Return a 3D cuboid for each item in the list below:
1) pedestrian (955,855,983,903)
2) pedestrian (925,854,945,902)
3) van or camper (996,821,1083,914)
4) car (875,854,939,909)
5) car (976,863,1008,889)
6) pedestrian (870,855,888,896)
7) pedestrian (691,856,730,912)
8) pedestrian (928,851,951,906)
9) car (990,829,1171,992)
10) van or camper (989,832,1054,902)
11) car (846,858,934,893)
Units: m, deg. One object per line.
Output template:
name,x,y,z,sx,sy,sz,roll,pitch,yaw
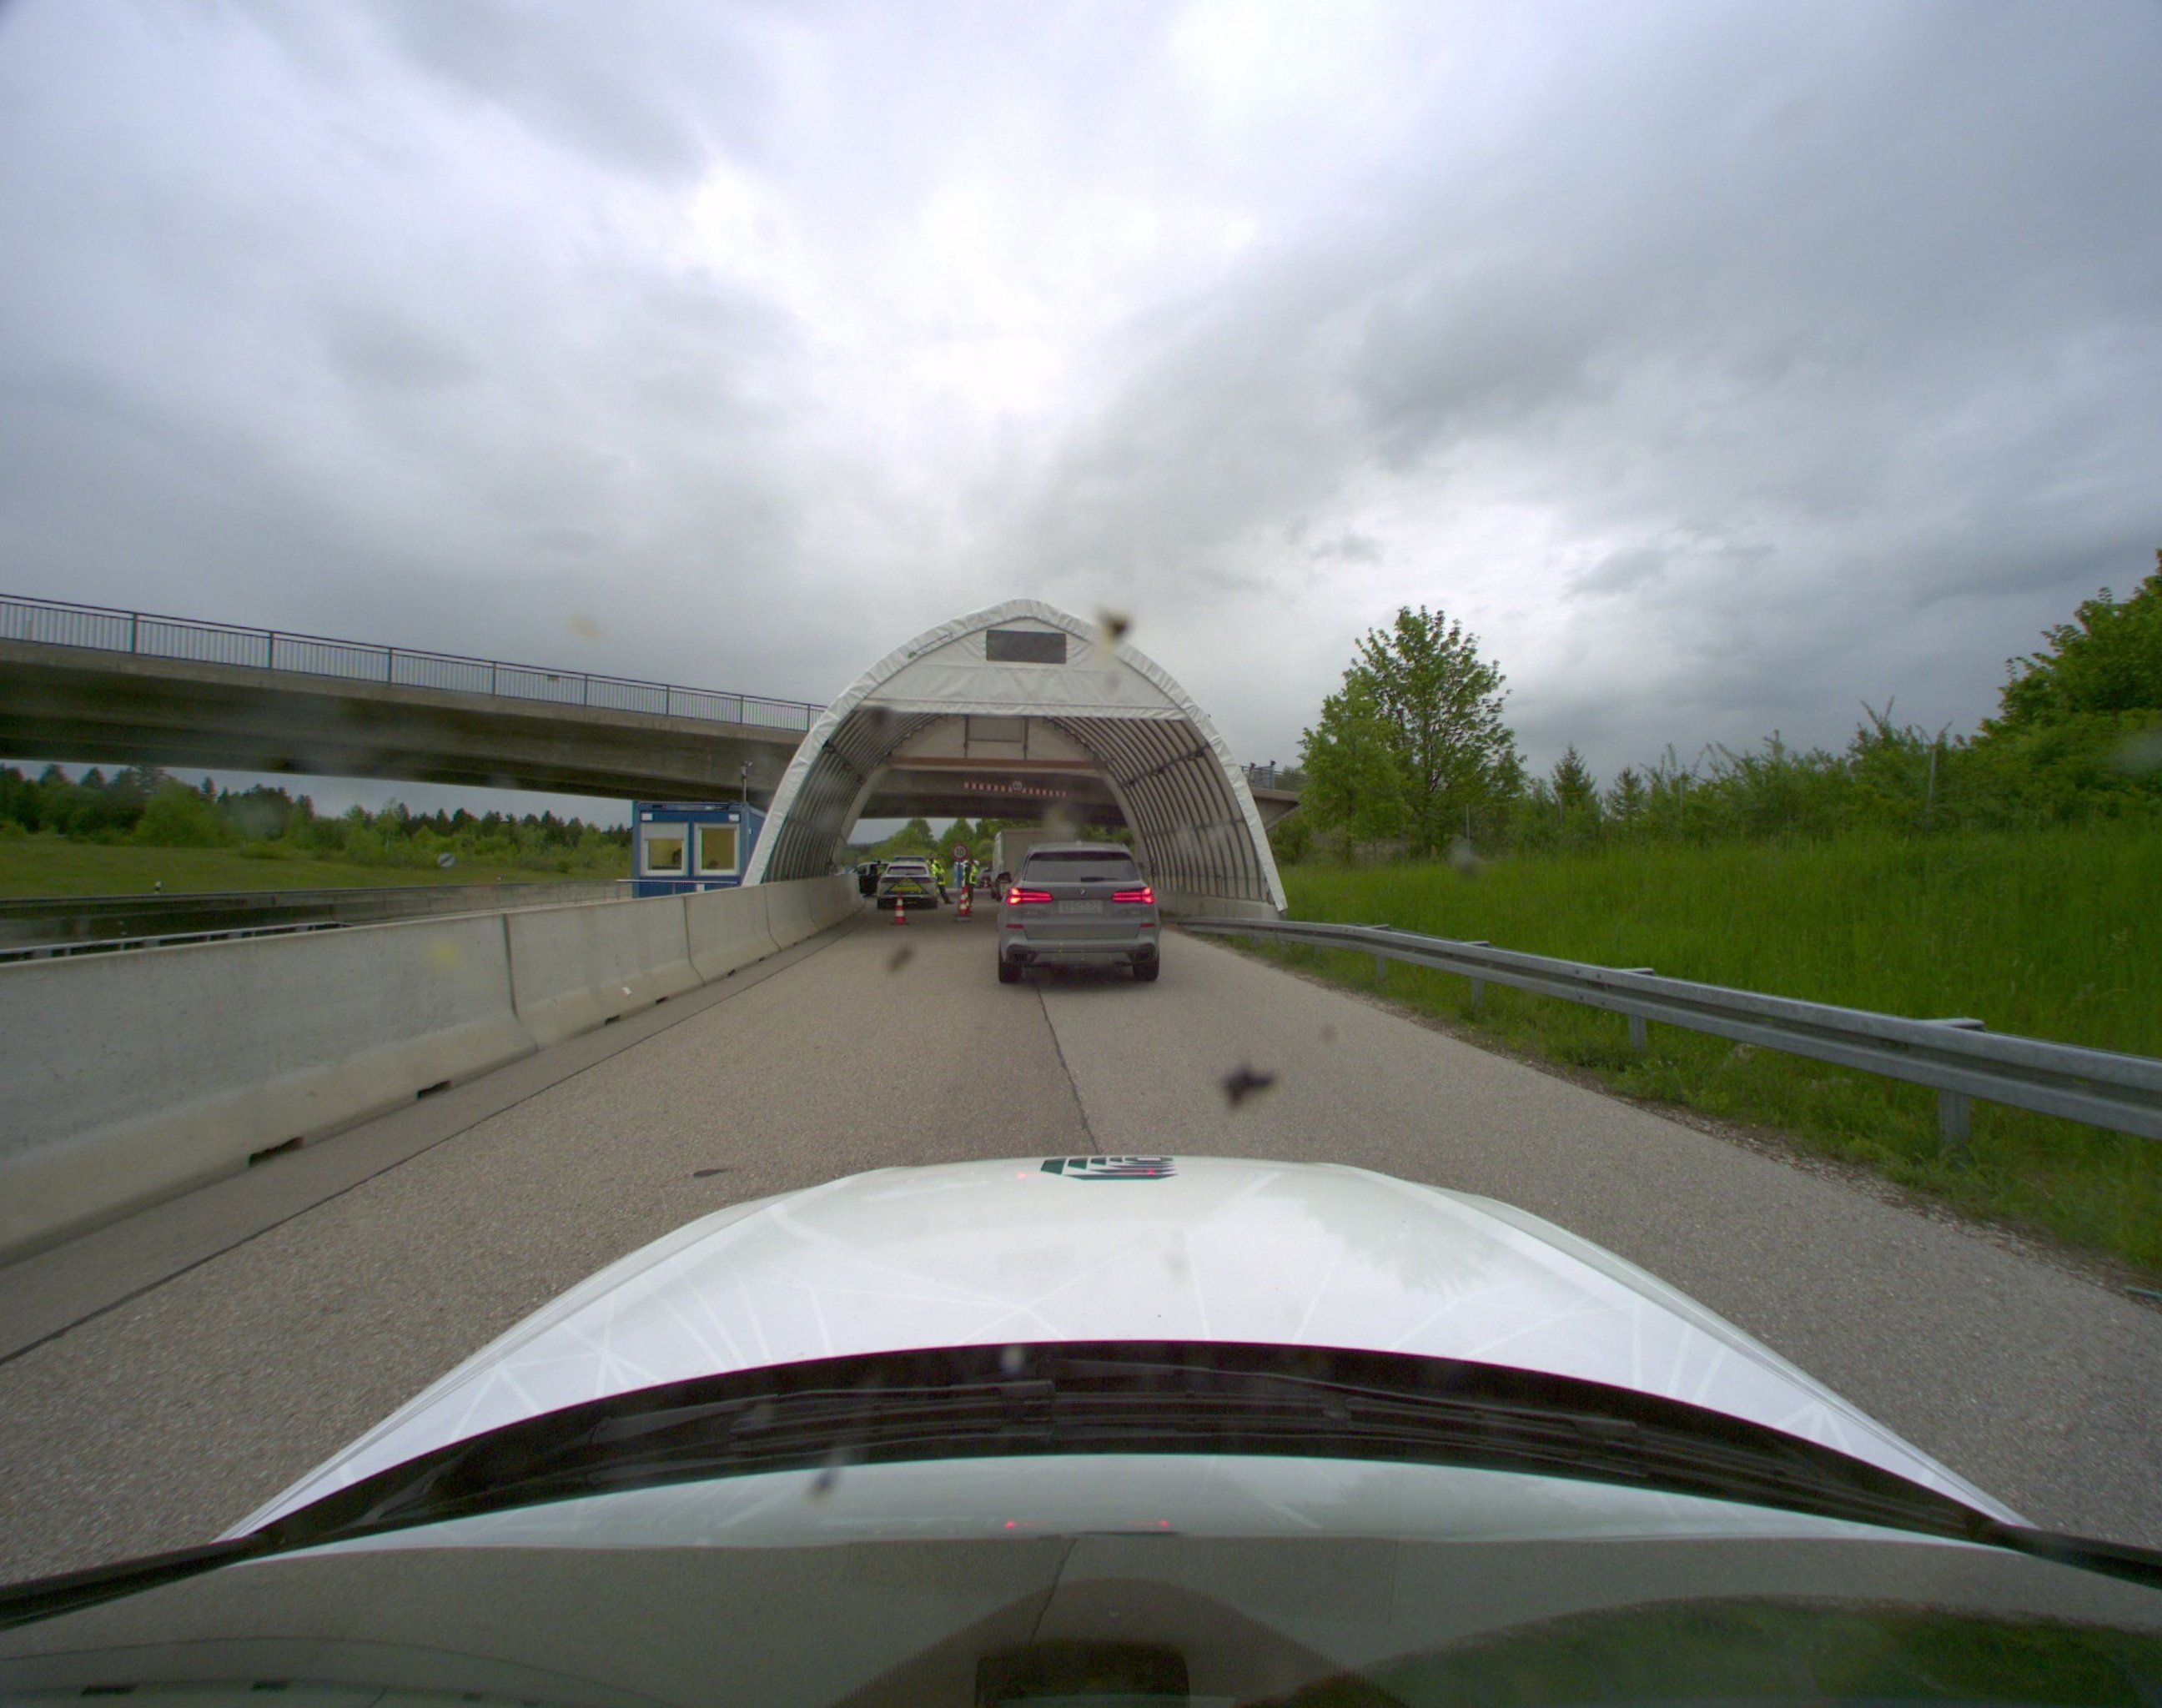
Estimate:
pedestrian,-4.094,0.895,29.783,0.774,1.722,0.759,-2,-1,11
pedestrian,-5.412,0.871,30.258,0.607,1.754,0.665,-1,-1,-4
van or camper,-1.501,0.411,26.150,2.228,2.552,6.593,-1,-1,-7
car,-5.770,0.879,27.026,1.879,1.647,3.983,-1,-1,-12
car,-6.489,1.552,58.778,1.994,1.722,3.882,-1,-1,-11
pedestrian,-10.039,1.072,40.454,0.698,2.014,0.692,-1,-1,1
pedestrian,-9.239,0.737,20.303,0.606,1.373,0.629,-2,-1,10
pedestrian,-5.074,0.875,29.196,0.750,1.919,0.759,-1,-1,-13
car,-0.217,0.649,11.108,1.992,1.765,3.990,-1,-1,-7
van or camper,-2.463,0.497,32.309,2.103,2.519,5.534,-1,-1,-9
car,-11.543,1.303,49.357,4.777,2.014,1.845,-1,-1,9
